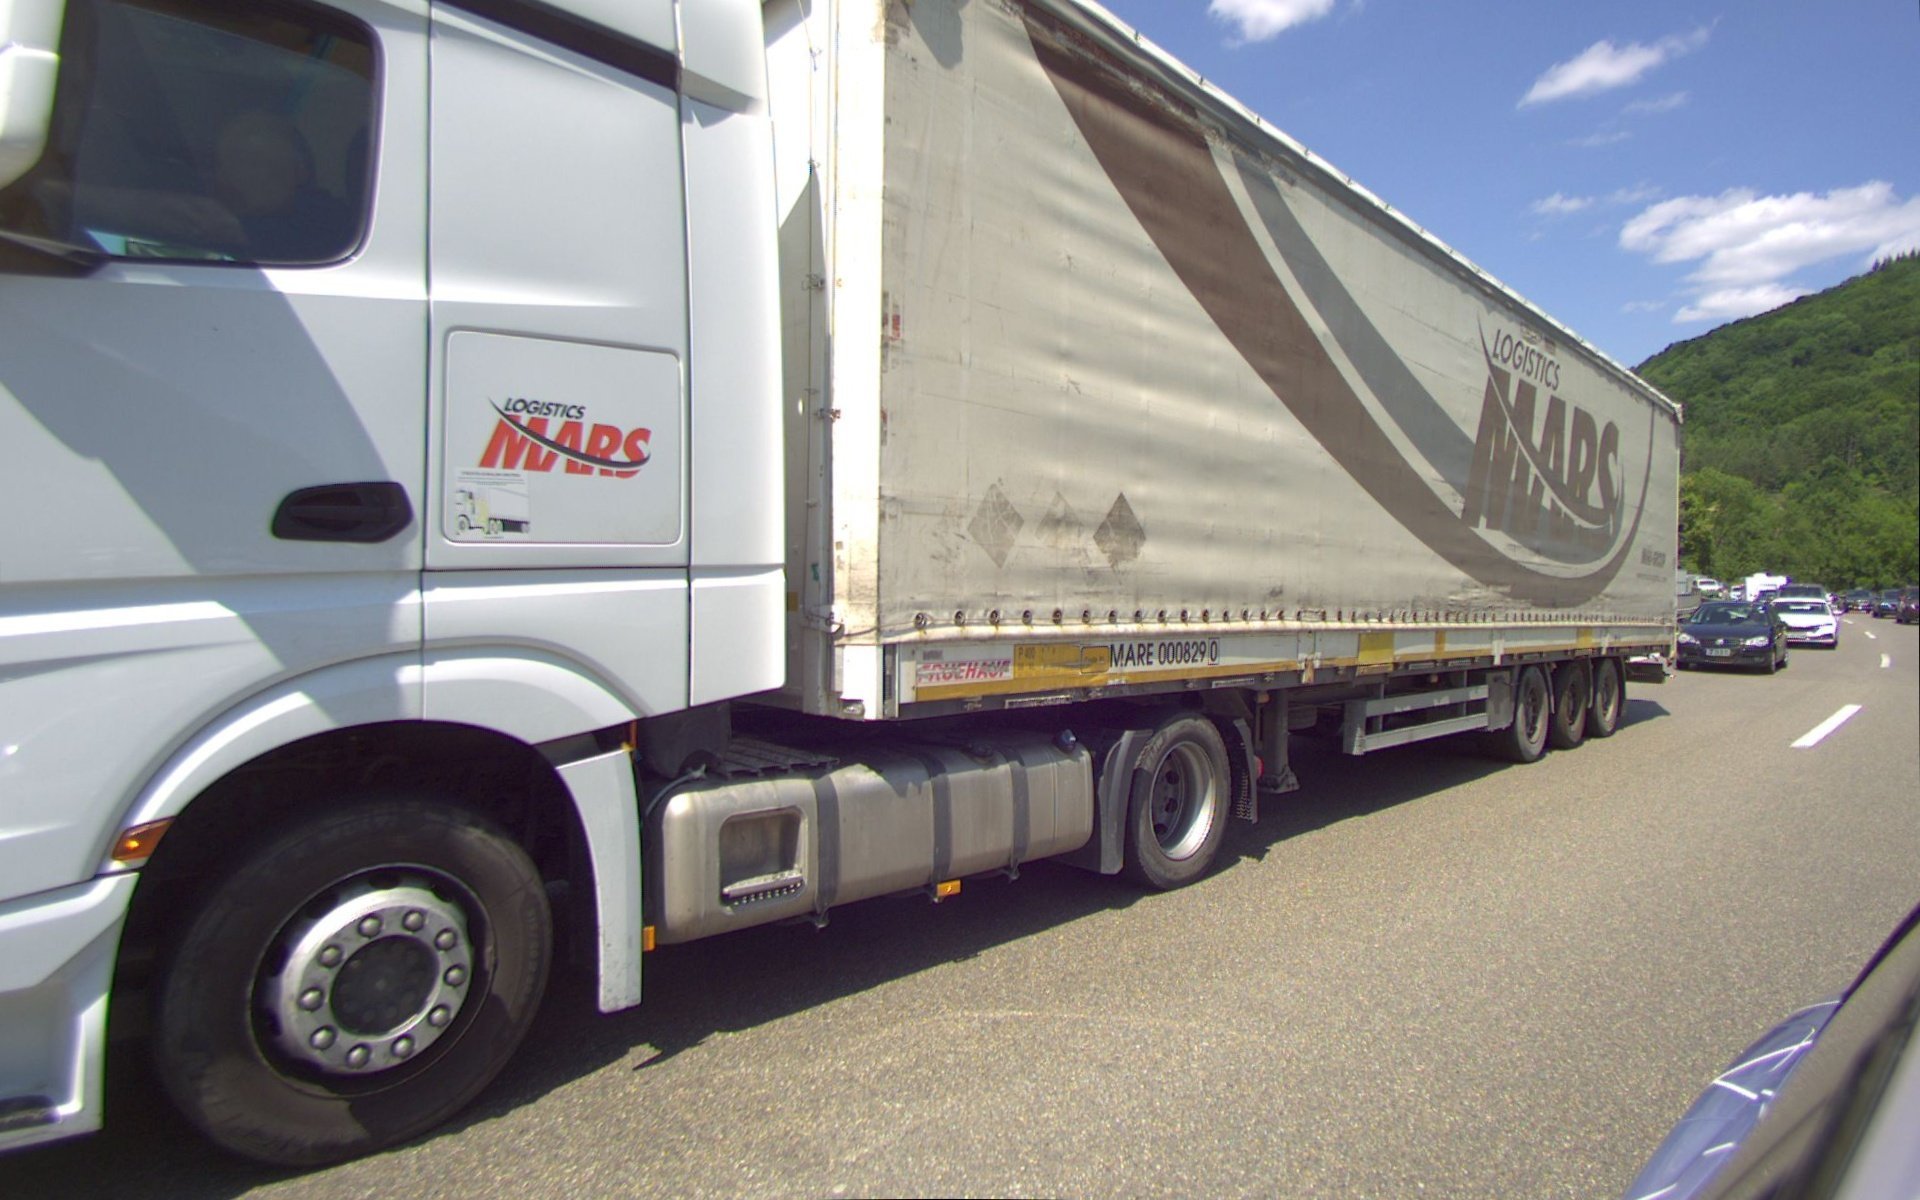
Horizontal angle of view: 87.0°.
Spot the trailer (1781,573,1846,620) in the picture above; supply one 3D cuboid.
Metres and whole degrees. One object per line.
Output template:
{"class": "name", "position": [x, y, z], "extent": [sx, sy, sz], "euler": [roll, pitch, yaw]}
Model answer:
{"class": "trailer", "position": [37.963, -0.213, 44.989], "extent": [1.994, 1.994, 3.938], "euler": [1, 2, 44]}

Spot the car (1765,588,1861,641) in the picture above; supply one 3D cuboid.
{"class": "car", "position": [25.213, 0.389, 29.875], "extent": [1.903, 1.448, 3.662], "euler": [1, 0, 44]}

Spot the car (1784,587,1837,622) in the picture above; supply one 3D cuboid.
{"class": "car", "position": [35.438, 0.153, 42.146], "extent": [1.485, 1.401, 3.680], "euler": [0, 0, 43]}

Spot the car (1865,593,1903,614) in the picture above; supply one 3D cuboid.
{"class": "car", "position": [51.982, 0.178, 56.965], "extent": [1.486, 1.123, 3.166], "euler": [0, 0, 41]}

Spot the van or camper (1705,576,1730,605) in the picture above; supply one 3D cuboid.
{"class": "van or camper", "position": [82.505, -1.077, 110.223], "extent": [1.898, 3.065, 4.814], "euler": [1, 1, 35]}

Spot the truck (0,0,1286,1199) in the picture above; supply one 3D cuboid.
{"class": "truck", "position": [-1.205, -0.713, 4.500], "extent": [5.659, 4.119, 2.721], "euler": [-1, 1, -44]}

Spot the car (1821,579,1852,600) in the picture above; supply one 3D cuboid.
{"class": "car", "position": [71.057, -0.832, 82.072], "extent": [1.522, 1.658, 3.375], "euler": [-2, -1, 35]}

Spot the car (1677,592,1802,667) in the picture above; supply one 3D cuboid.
{"class": "car", "position": [16.647, 0.566, 21.560], "extent": [1.692, 1.440, 3.777], "euler": [0, 0, 44]}

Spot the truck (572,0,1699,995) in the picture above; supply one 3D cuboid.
{"class": "truck", "position": [3.666, -0.769, 9.227], "extent": [13.515, 4.119, 2.728], "euler": [-1, 1, -44]}

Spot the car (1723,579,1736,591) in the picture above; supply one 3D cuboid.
{"class": "car", "position": [94.386, -1.820, 124.177], "extent": [1.239, 1.497, 2.920], "euler": [-2, -1, 37]}

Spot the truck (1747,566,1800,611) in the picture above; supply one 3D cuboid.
{"class": "truck", "position": [59.806, -0.795, 74.510], "extent": [2.588, 3.147, 6.769], "euler": [-2, -1, 36]}

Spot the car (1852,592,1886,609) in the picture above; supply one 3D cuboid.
{"class": "car", "position": [61.478, 0.020, 68.493], "extent": [1.484, 1.123, 3.169], "euler": [0, 0, 38]}

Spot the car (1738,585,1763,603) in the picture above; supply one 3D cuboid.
{"class": "car", "position": [71.059, -0.539, 91.045], "extent": [1.690, 1.552, 3.630], "euler": [-2, -1, 37]}
